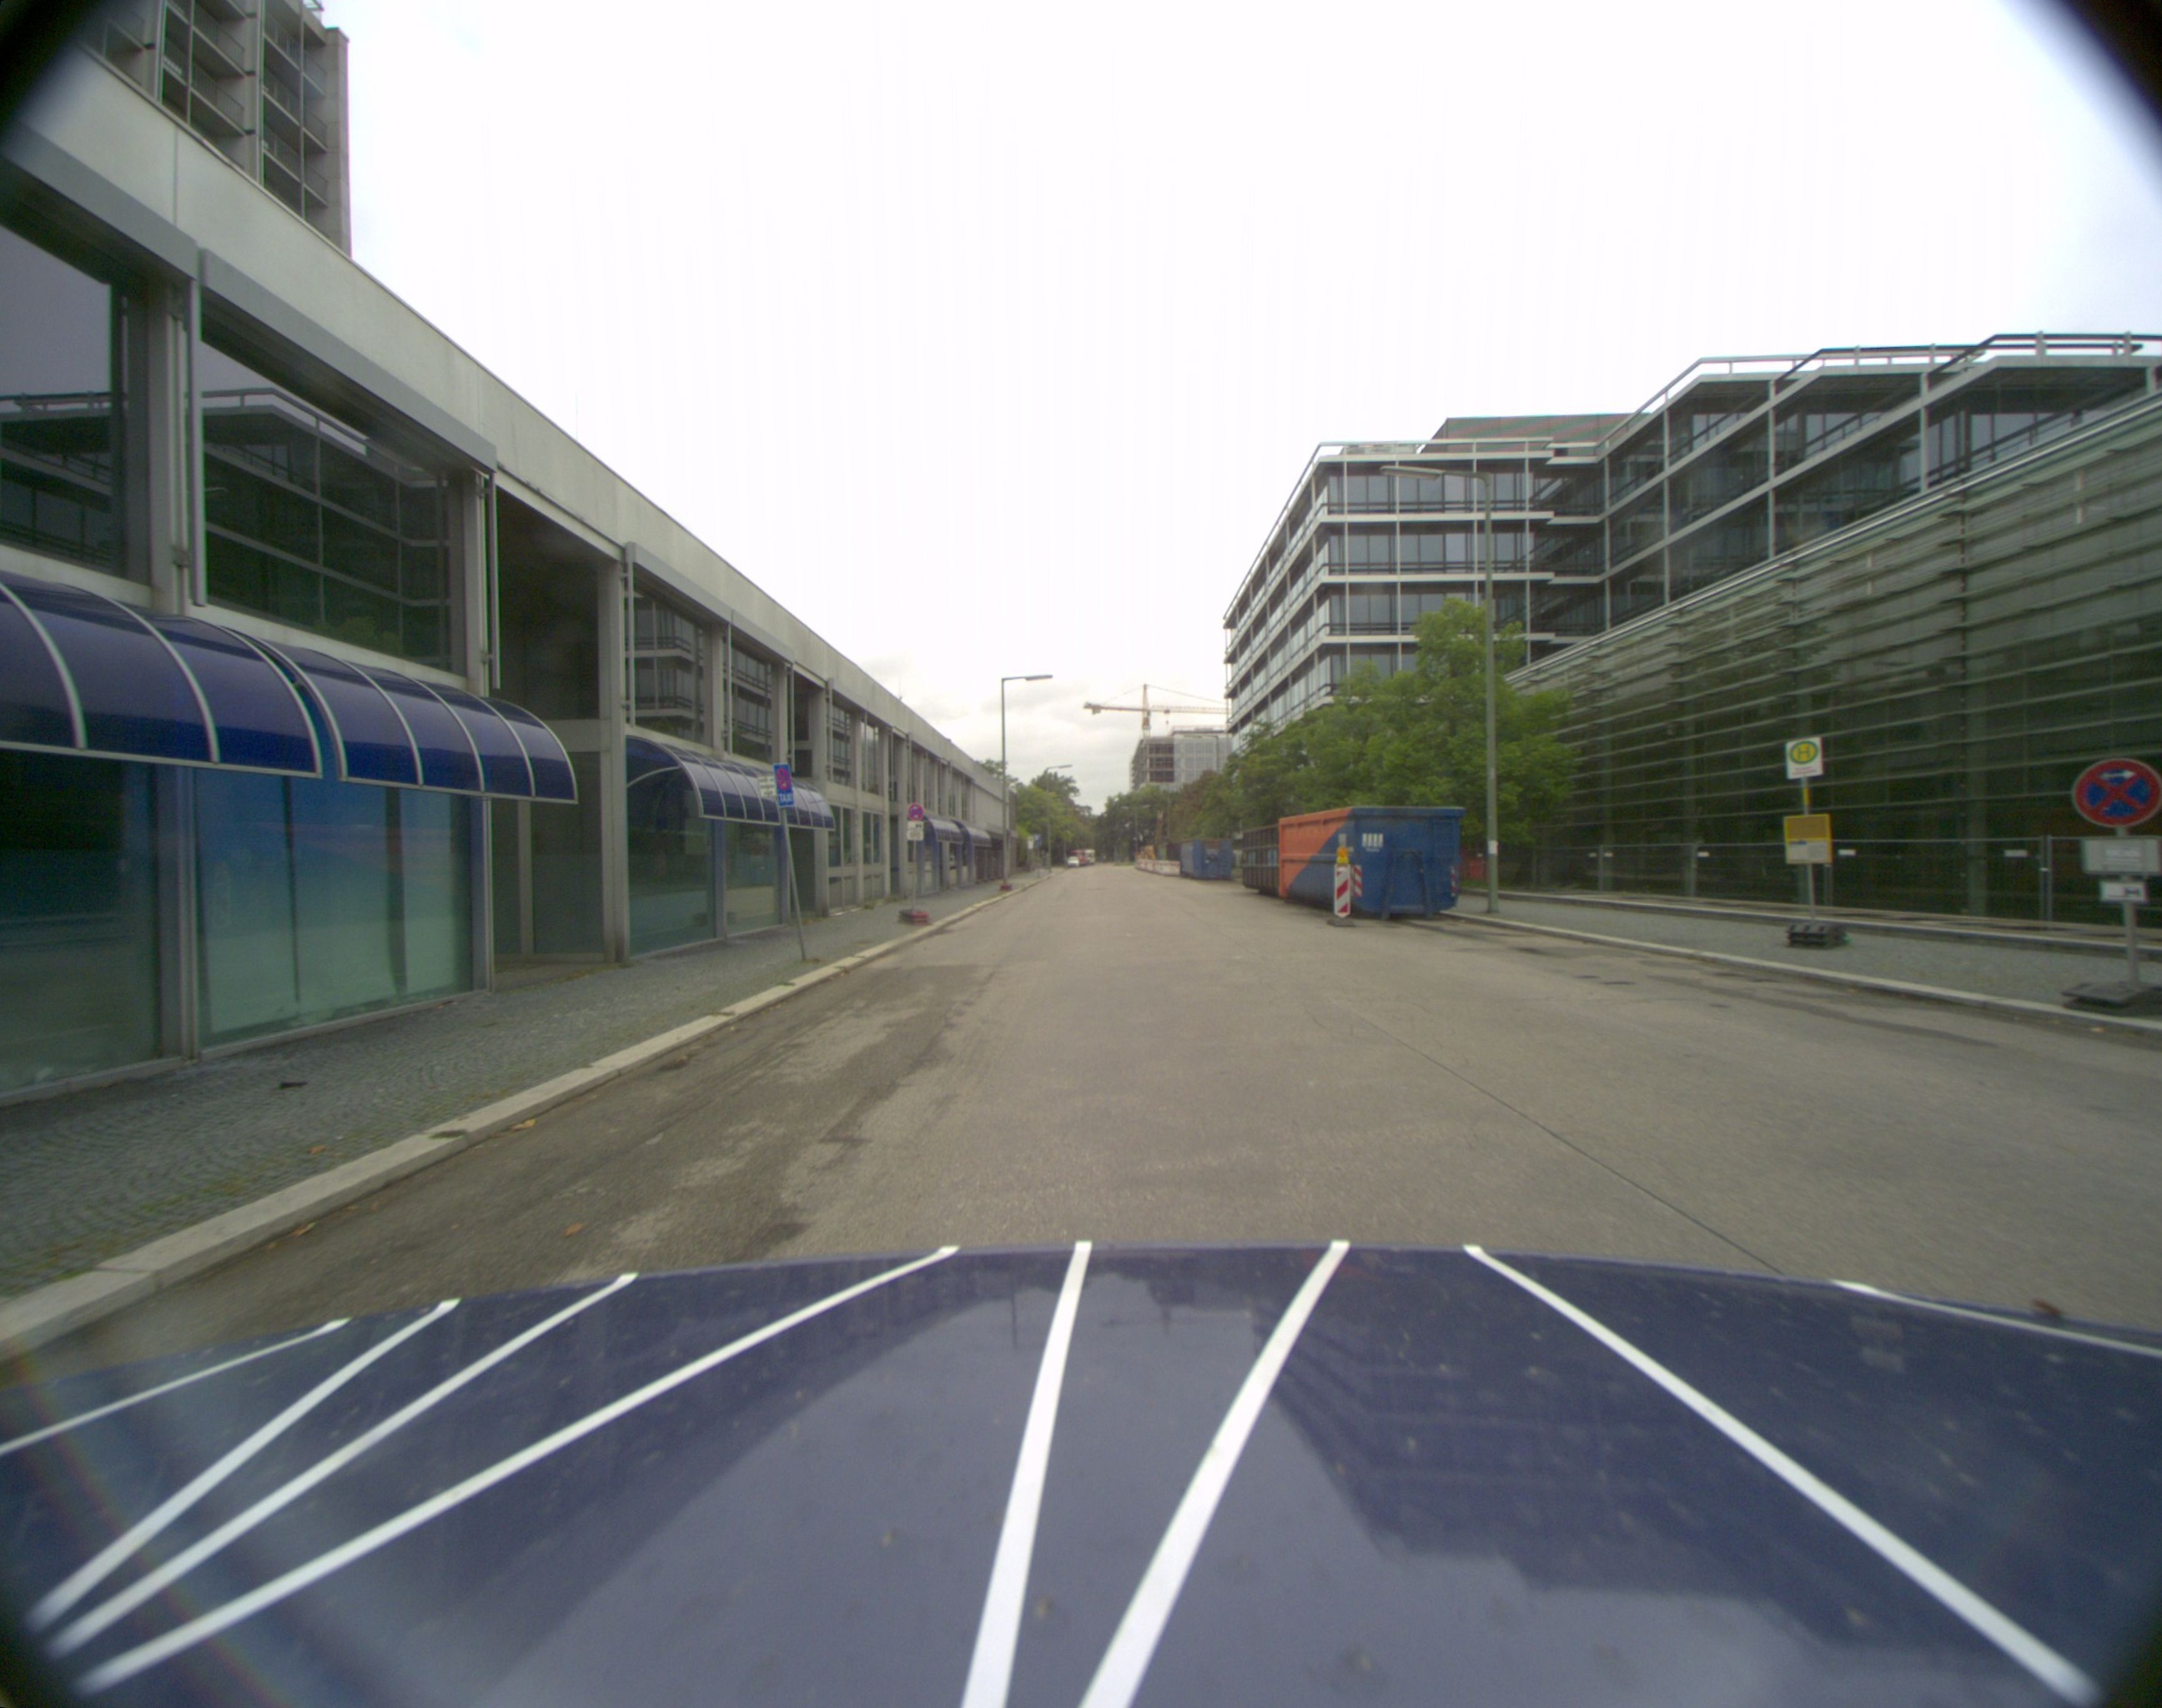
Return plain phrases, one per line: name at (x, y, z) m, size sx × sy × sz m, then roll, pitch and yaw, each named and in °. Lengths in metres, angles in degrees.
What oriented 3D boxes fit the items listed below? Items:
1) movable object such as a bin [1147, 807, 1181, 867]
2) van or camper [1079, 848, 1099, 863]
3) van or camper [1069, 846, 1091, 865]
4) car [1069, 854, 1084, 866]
movable object such as a bin at (9.066, -1.760, 83.628) m, size 3.241 × 6.285 × 8.338 m, roll -1°, pitch 0°, yaw 3°
van or camper at (1.397, 0.291, 130.360) m, size 2.665 × 2.436 × 6.448 m, roll -1°, pitch 0°, yaw 7°
van or camper at (-0.108, 0.228, 116.082) m, size 2.666 × 2.751 × 6.917 m, roll -1°, pitch 0°, yaw 4°
car at (-0.624, 0.818, 109.818) m, size 1.912 × 1.627 × 4.001 m, roll -1°, pitch 0°, yaw 3°
